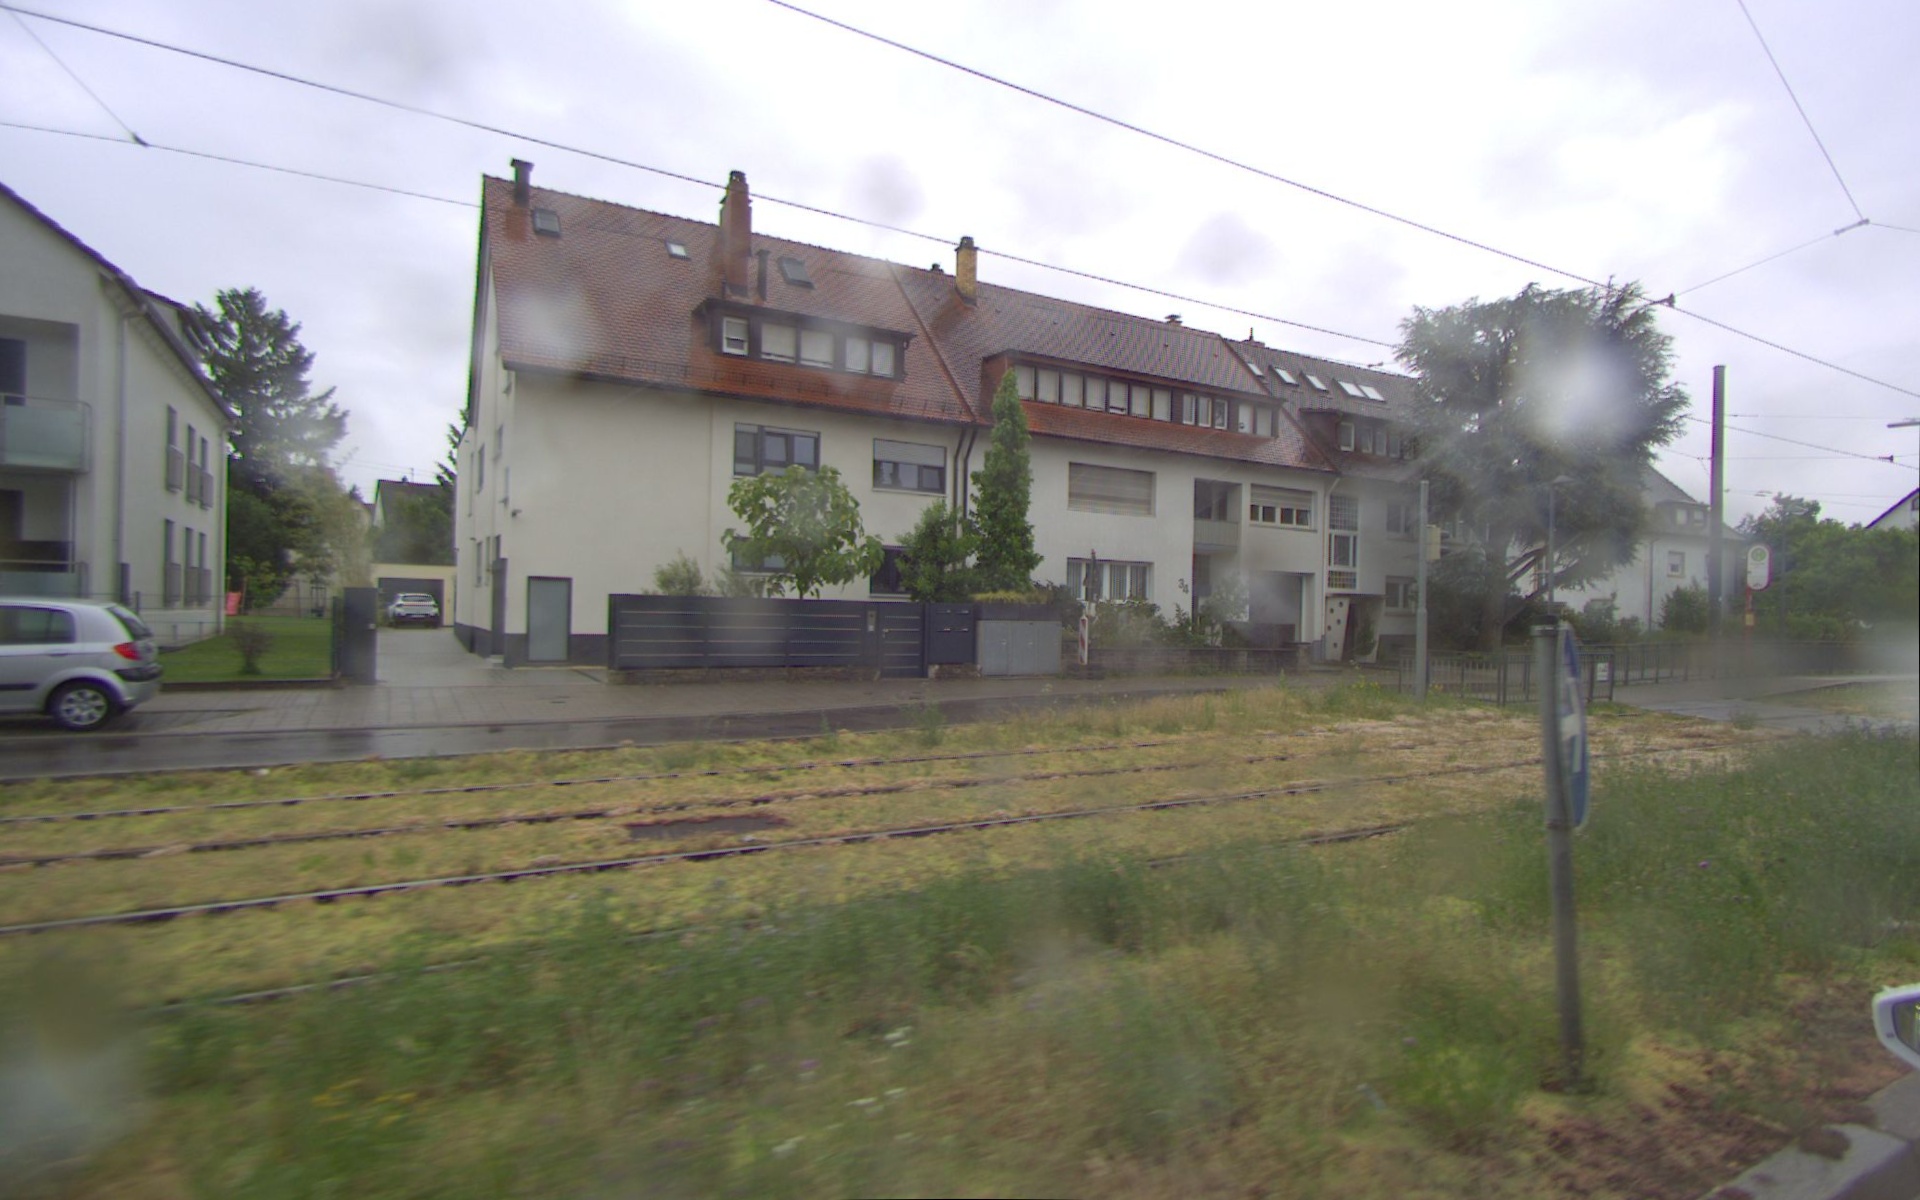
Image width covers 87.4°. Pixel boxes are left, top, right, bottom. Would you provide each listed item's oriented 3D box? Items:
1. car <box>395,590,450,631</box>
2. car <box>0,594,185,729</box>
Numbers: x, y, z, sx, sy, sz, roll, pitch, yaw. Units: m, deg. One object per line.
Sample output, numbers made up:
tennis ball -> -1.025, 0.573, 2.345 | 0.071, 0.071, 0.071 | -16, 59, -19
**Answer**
car -> -24.065, 0.452, 44.915 | 1.977, 1.639, 3.967 | 2, 0, -30
car -> -11.344, 0.656, 11.548 | 3.618, 1.432, 1.982 | 3, 0, -33
